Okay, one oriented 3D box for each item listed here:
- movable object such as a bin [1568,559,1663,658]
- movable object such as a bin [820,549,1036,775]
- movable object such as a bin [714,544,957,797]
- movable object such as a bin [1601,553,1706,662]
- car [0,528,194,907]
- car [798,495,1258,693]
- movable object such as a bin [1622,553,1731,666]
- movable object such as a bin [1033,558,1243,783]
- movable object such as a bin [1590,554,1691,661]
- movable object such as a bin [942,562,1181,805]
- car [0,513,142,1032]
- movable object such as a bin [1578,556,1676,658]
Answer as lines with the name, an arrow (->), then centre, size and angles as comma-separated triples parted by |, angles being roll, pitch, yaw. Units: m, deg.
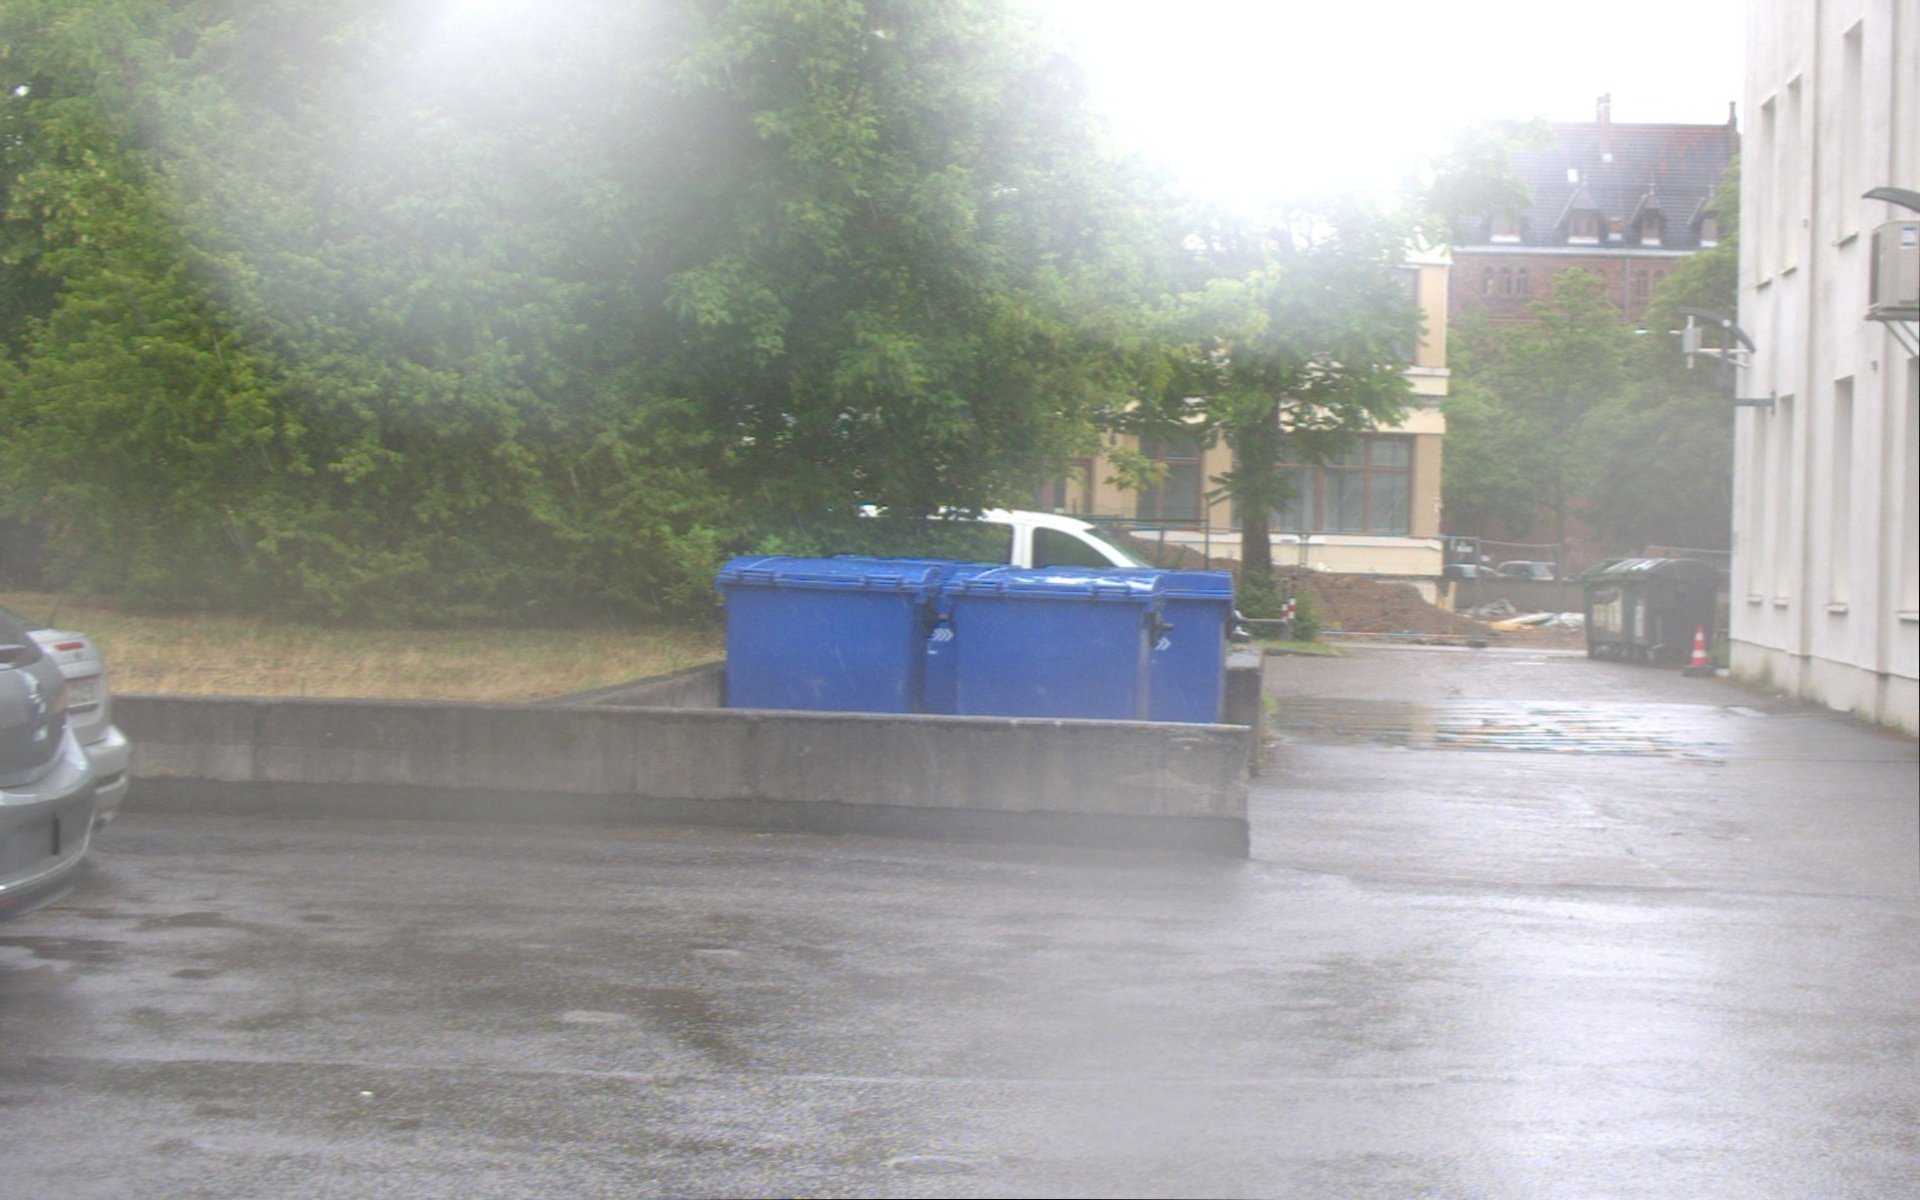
movable object such as a bin -> 9.857, 0.139, 51.729 | 1.215, 1.432, 1.259 | 2, -1, 4
movable object such as a bin -> -0.189, 0.373, 21.691 | 1.221, 1.332, 1.006 | 2, 2, 6
movable object such as a bin -> -0.711, 0.389, 20.095 | 1.203, 1.332, 1.116 | 3, 3, 6
movable object such as a bin -> 9.545, 0.117, 47.338 | 1.215, 1.432, 1.294 | 2, -1, 4
car -> -5.393, 0.299, 13.720 | 4.166, 1.328, 1.822 | 4, 2, 2
car -> 0.778, -0.096, 37.195 | 4.781, 2.007, 2.000 | 1, 1, 7
movable object such as a bin -> 9.504, 0.132, 45.655 | 1.215, 1.432, 1.235 | 2, -1, 4
movable object such as a bin -> 1.128, 0.424, 21.551 | 1.221, 1.332, 1.006 | 2, 1, 6
movable object such as a bin -> 9.691, 0.113, 48.977 | 1.215, 1.463, 1.235 | 2, -1, 4
movable object such as a bin -> 0.606, 0.462, 19.982 | 1.203, 1.332, 1.116 | 2, 1, 10
car -> -4.837, 0.432, 10.595 | 4.165, 1.478, 1.822 | 2, 2, 1
movable object such as a bin -> 9.755, 0.108, 50.354 | 1.215, 1.432, 1.259 | 2, -1, 4
